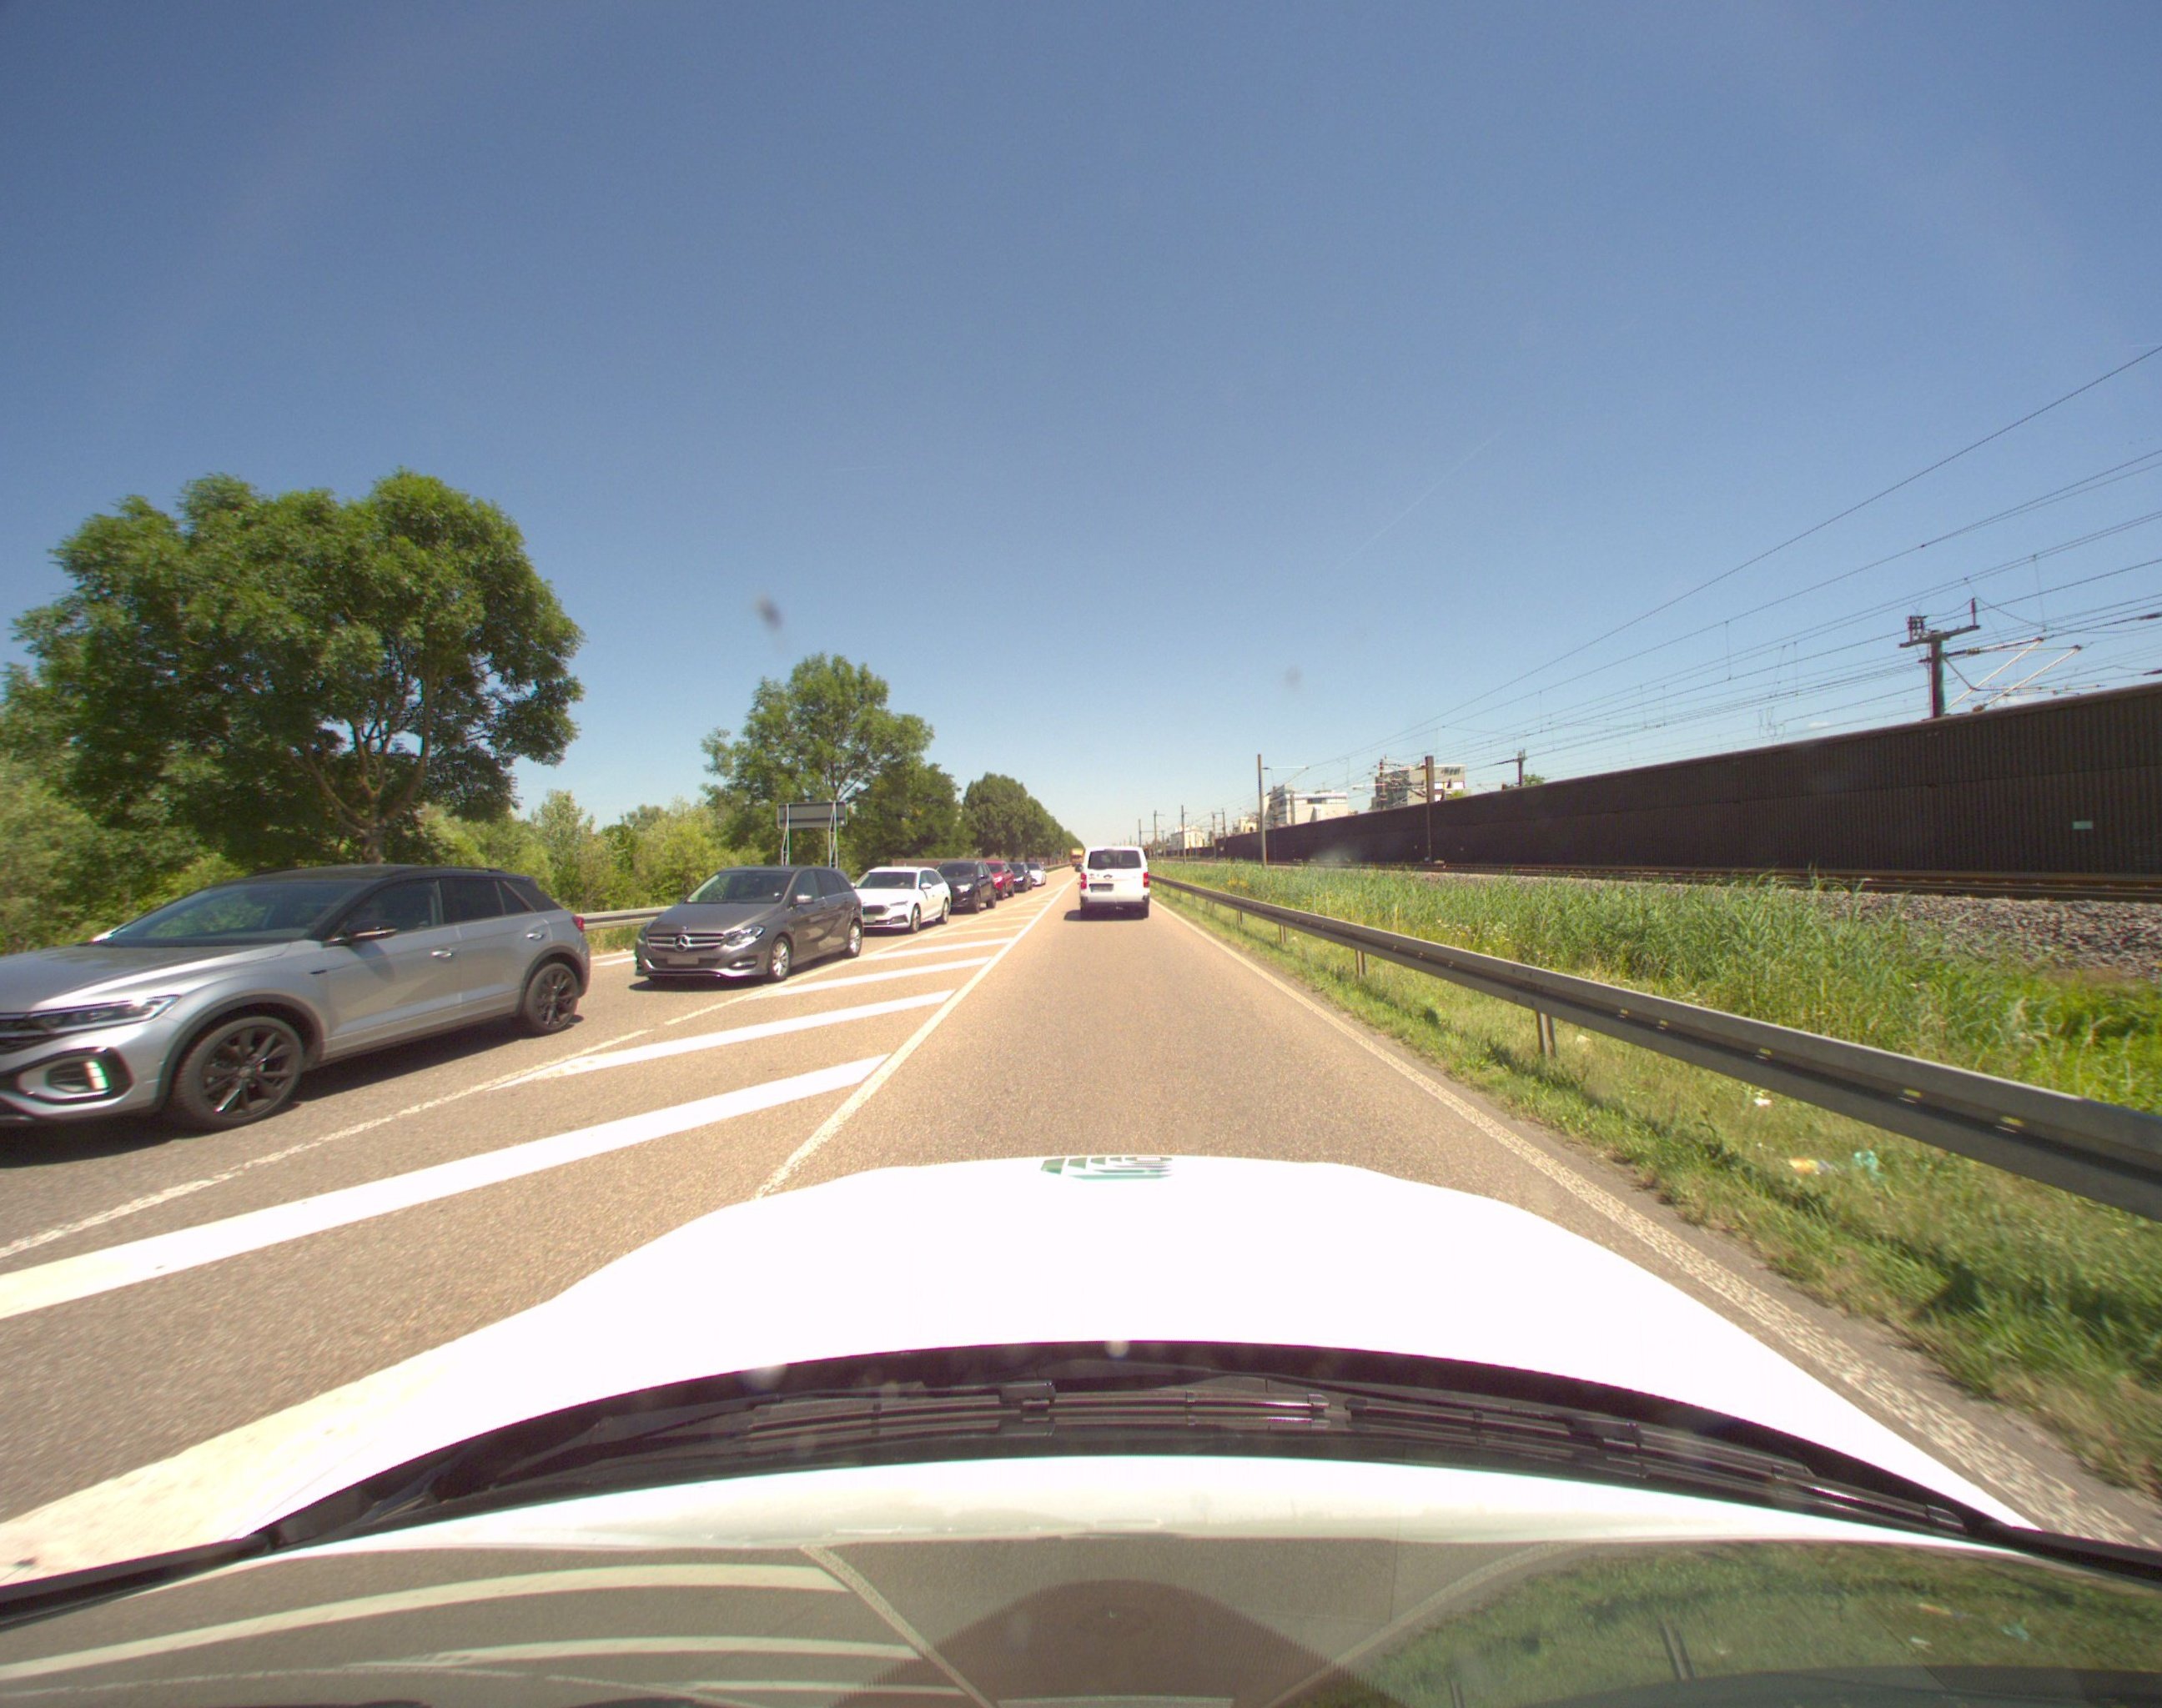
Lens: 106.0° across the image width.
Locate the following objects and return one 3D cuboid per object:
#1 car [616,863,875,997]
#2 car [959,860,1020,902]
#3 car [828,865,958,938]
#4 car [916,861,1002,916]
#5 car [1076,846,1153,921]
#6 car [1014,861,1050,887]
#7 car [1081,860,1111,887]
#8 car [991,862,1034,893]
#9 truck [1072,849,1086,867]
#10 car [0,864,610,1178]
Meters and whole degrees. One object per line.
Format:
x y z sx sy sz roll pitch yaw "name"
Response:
-4.595 0.944 11.985 1.616 1.538 4.390 -2 0 5 "car"
-3.785 1.085 34.396 1.747 1.631 4.283 -1 0 4 "car"
-4.298 1.031 19.395 1.645 1.479 4.636 -1 0 5 "car"
-3.789 1.033 26.103 1.708 1.589 4.540 -1 0 4 "car"
0.894 0.781 23.290 1.939 1.881 4.881 -1 -1 1 "car"
-2.909 1.182 49.288 1.678 1.460 4.619 0 0 3 "car"
0.939 1.233 53.007 1.900 1.649 4.140 0 0 -1 "car"
-3.421 1.168 41.451 1.679 1.460 4.617 0 0 2 "car"
-0.404 0.824 178.920 2.782 3.840 9.325 -1 -1 1 "truck"
-5.754 0.881 6.221 1.705 1.562 4.157 -1 -1 3 "car"
